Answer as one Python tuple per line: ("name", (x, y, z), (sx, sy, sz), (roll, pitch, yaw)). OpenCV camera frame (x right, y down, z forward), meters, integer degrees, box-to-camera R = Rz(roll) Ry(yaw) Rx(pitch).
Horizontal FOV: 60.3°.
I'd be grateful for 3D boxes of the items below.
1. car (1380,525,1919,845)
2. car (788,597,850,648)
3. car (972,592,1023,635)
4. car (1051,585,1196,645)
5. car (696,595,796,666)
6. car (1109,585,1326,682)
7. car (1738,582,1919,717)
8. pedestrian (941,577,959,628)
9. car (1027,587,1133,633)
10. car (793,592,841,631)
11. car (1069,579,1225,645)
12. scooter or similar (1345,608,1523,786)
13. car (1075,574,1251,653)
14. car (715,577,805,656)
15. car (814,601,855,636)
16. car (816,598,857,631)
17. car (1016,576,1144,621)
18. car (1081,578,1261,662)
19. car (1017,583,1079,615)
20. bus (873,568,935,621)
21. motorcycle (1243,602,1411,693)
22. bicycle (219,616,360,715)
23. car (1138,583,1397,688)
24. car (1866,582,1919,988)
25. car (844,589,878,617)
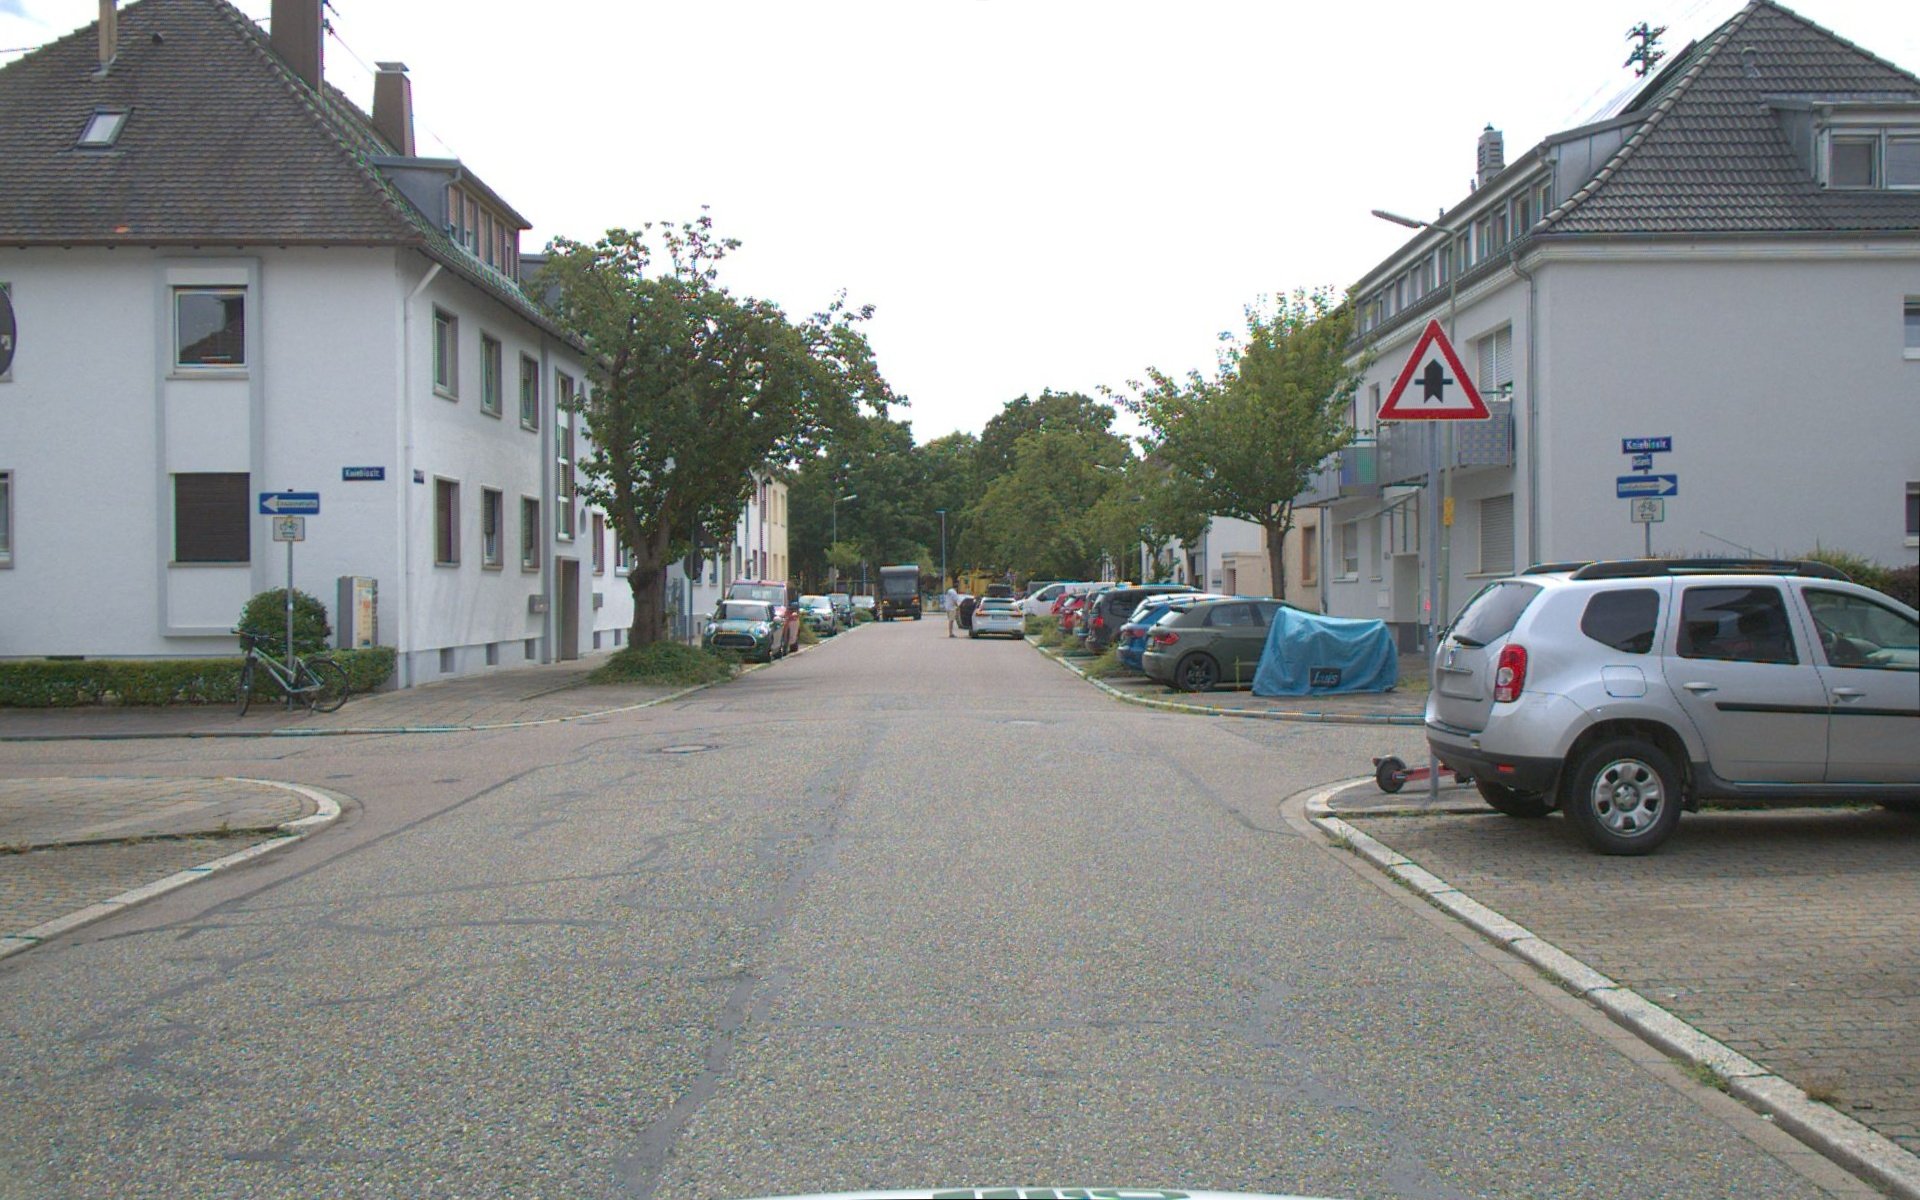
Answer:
("car", (4.828, 0.431, 10.286), (3.848, 1.661, 1.866), (-3, 0, -6))
("car", (-4.409, 0.677, 51.984), (1.618, 1.487, 3.551), (-3, 0, -1))
("car", (1.308, 0.449, 57.748), (1.652, 1.377, 3.827), (-3, 0, 1))
("car", (4.619, 0.414, 47.178), (3.906, 1.463, 1.722), (-3, 0, -1))
("car", (-5.200, 0.708, 40.594), (1.726, 1.581, 3.732), (-3, 0, 3))
("car", (4.370, 0.556, 28.389), (3.446, 1.437, 1.558), (-3, 0, 0))
("car", (11.296, 0.529, 19.214), (3.724, 1.468, 1.663), (-1, 0, 0))
("pedestrian", (-0.339, 0.086, 57.197), (0.511, 1.734, 0.445), (-3, 0, 3))
("car", (4.604, 0.379, 63.878), (3.906, 1.545, 1.722), (-3, 0, -1))
("car", (-5.468, 0.426, 63.704), (1.618, 1.401, 3.720), (-3, 0, -2))
("car", (4.935, 0.312, 43.991), (3.906, 1.545, 1.722), (-3, 0, -1))
("scooter or similar", (3.629, 0.724, 12.672), (1.217, 1.265, 0.421), (-3, 0, -13))
("car", (4.776, 0.302, 39.252), (3.905, 1.646, 1.867), (-3, 0, 0))
("car", (-5.470, 0.429, 45.822), (1.953, 2.049, 4.520), (-1, 0, -1))
("car", (-5.189, 0.742, 68.767), (1.508, 1.324, 3.720), (-3, 0, -2))
("car", (-5.773, 0.660, 77.511), (1.618, 1.401, 3.721), (-3, 0, -1))
("car", (4.764, -0.064, 66.189), (4.875, 1.545, 1.768), (-3, 0, -2))
("car", (4.558, 0.421, 36.145), (3.671, 1.591, 1.773), (-3, 0, 1))
("car", (5.056, -0.076, 95.267), (3.457, 1.630, 1.773), (-3, 0, 1))
("bus", (-3.152, -0.329, 95.565), (2.942, 2.809, 8.925), (-3, 0, 1))
("motorcycle", (5.165, 0.656, 23.384), (2.149, 1.232, 0.939), (-1, 0, -2))
("bicycle", (-8.791, 0.847, 21.704), (1.601, 1.199, 0.435), (-3, 0, -5))
("car", (4.726, 0.533, 25.774), (3.671, 1.389, 1.773), (-3, 0, 1))
("car", (5.359, 0.572, 5.321), (3.906, 1.446, 1.712), (-3, 0, 0))
("car", (-5.771, 0.174, 96.472), (1.588, 1.528, 4.000), (-3, 0, 1))
